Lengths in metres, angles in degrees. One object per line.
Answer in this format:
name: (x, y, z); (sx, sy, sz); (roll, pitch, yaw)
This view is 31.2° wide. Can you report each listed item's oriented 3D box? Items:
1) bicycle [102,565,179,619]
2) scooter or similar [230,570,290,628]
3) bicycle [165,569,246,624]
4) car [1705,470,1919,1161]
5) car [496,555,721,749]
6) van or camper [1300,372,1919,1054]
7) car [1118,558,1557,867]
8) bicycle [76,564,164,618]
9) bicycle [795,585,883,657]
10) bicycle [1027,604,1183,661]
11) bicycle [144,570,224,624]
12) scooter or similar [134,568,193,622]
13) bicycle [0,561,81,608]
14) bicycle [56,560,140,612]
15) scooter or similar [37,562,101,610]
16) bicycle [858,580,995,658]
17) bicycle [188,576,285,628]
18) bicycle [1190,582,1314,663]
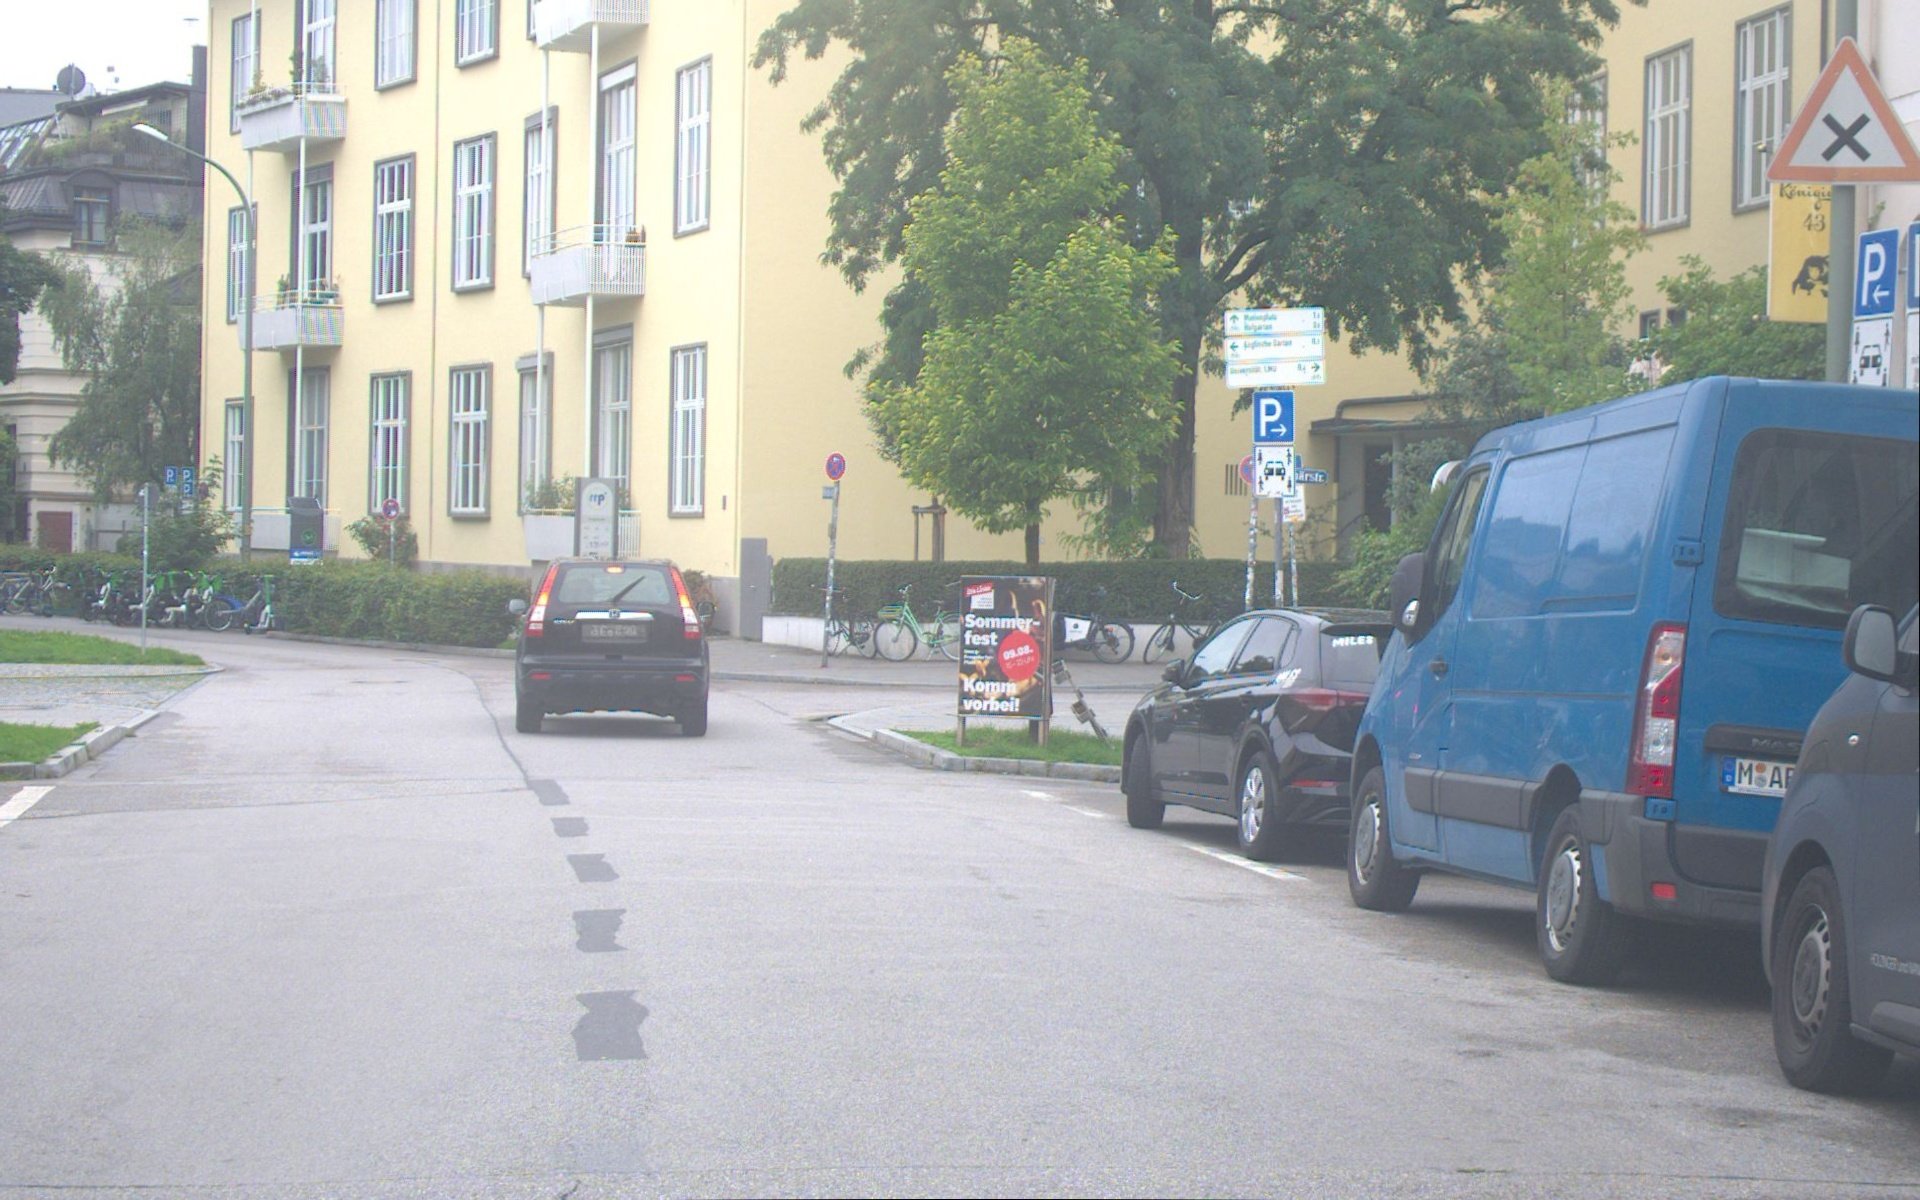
bicycle: (-17.135, -0.180, 71.932); (0.637, 1.082, 1.984); (1, 1, 17)
scooter or similar: (-13.740, -0.022, 67.496); (0.495, 1.105, 1.408); (1, 1, 21)
bicycle: (-15.533, -0.078, 70.824); (0.576, 1.082, 1.931); (1, 1, 25)
car: (3.590, 0.671, 8.402); (1.964, 1.810, 4.936); (7, 0, -4)
car: (-3.466, 0.454, 33.651); (1.995, 1.688, 4.381); (2, 1, -7)
van or camper: (3.079, 0.394, 14.361); (2.060, 2.223, 5.439); (5, 0, -6)
car: (2.146, 0.590, 20.633); (1.703, 1.513, 3.959); (6, 0, -6)
bicycle: (-17.727, -0.197, 72.605); (0.696, 1.082, 2.337); (1, 1, 17)
bicycle: (-1.915, 0.316, 54.081); (0.608, 1.069, 2.218); (0, 1, -24)
bicycle: (2.147, 0.480, 50.741); (2.211, 0.776, 0.610); (1, 1, 13)
bicycle: (-16.088, -0.077, 71.333); (0.576, 1.082, 1.931); (1, 1, 25)
scooter or similar: (-16.594, -0.115, 71.642); (0.495, 1.084, 1.408); (1, 1, 21)
bicycle: (-21.634, -0.364, 79.757); (2.331, 1.082, 0.692); (-1, 1, -37)
bicycle: (-18.611, -0.317, 74.295); (0.763, 1.082, 2.139); (1, 1, 17)
scooter or similar: (-20.264, -0.327, 78.208); (1.404, 1.084, 0.597); (0, 1, -14)
bicycle: (-0.516, 0.272, 51.971); (2.215, 1.113, 0.609); (2, 1, 41)
bicycle: (-14.464, 0.034, 68.722); (1.823, 1.002, 0.577); (-1, 1, -34)
bicycle: (4.309, 0.333, 50.846); (1.734, 1.146, 0.610); (1, 1, -3)
